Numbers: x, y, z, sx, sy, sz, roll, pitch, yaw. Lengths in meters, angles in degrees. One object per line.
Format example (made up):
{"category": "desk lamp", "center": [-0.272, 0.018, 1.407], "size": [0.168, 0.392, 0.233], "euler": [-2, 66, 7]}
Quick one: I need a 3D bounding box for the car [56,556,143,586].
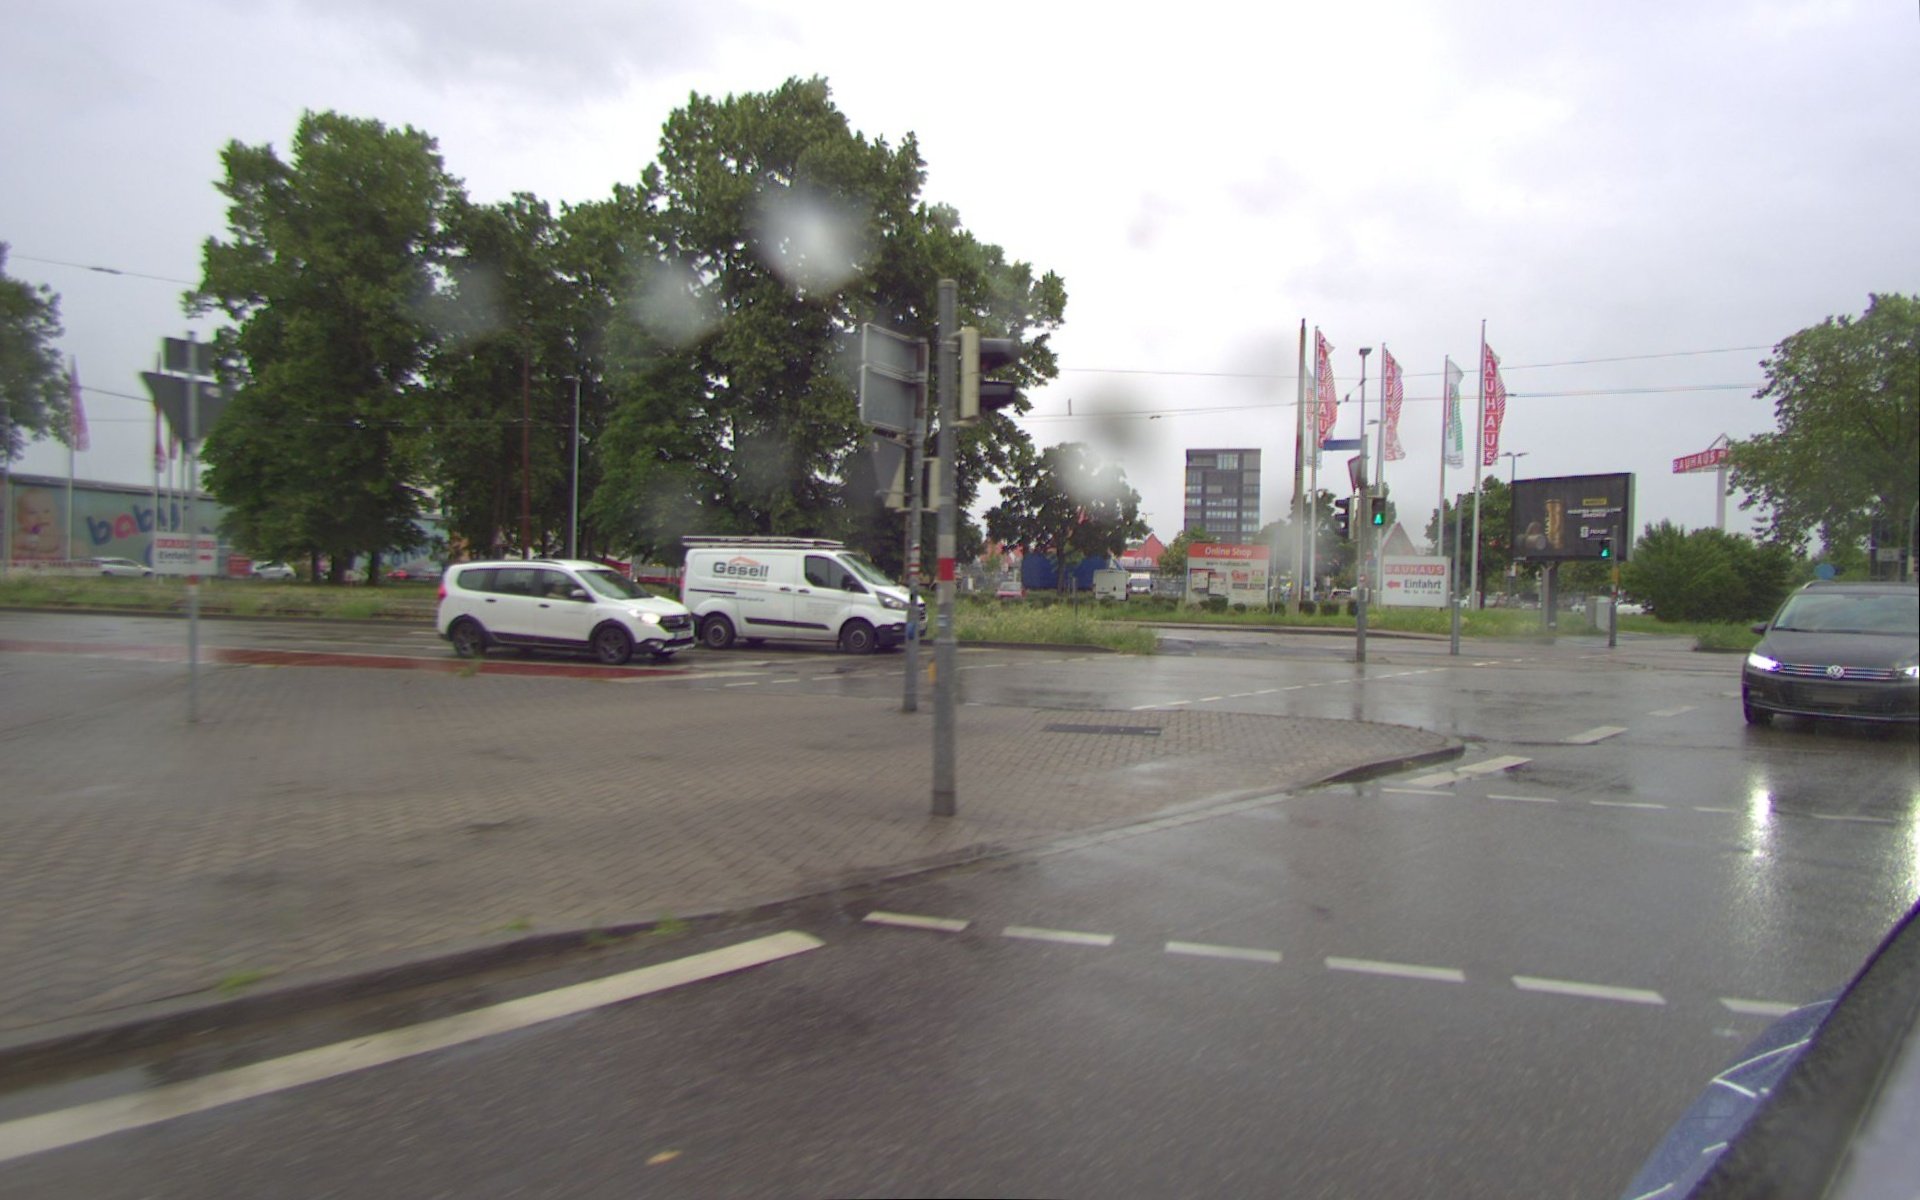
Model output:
{"category": "car", "center": [-53.664, -1.816, 63.203], "size": [1.785, 1.801, 3.757], "euler": [0, 1, 20]}

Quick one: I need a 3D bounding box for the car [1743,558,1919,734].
{"category": "car", "center": [10.744, 0.453, 11.771], "size": [4.117, 1.748, 1.859], "euler": [0, 0, -41]}

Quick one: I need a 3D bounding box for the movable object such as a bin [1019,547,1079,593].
{"category": "movable object such as a bin", "center": [6.609, -2.199, 75.336], "size": [4.188, 3.325, 2.319], "euler": [0, 1, 13]}

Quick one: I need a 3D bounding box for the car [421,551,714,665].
{"category": "car", "center": [-6.664, 0.082, 17.341], "size": [4.392, 1.693, 1.862], "euler": [2, 1, 12]}

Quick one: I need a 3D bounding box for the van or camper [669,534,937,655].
{"category": "van or camper", "center": [-3.017, -0.159, 19.797], "size": [4.832, 2.114, 1.862], "euler": [2, 1, 12]}

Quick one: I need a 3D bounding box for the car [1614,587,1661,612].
{"category": "car", "center": [46.981, -0.039, 70.136], "size": [3.932, 1.639, 1.820], "euler": [0, 2, -43]}

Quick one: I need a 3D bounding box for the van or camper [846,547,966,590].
{"category": "van or camper", "center": [-4.207, -2.411, 78.978], "size": [8.849, 3.197, 2.974], "euler": [0, 1, 15]}

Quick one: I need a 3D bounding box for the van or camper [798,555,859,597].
{"category": "van or camper", "center": [-7.772, -1.434, 60.159], "size": [2.103, 2.328, 4.447], "euler": [2, 1, 14]}

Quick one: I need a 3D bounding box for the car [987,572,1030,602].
{"category": "car", "center": [2.751, -0.765, 58.110], "size": [1.960, 1.593, 4.004], "euler": [1, 1, -4]}
